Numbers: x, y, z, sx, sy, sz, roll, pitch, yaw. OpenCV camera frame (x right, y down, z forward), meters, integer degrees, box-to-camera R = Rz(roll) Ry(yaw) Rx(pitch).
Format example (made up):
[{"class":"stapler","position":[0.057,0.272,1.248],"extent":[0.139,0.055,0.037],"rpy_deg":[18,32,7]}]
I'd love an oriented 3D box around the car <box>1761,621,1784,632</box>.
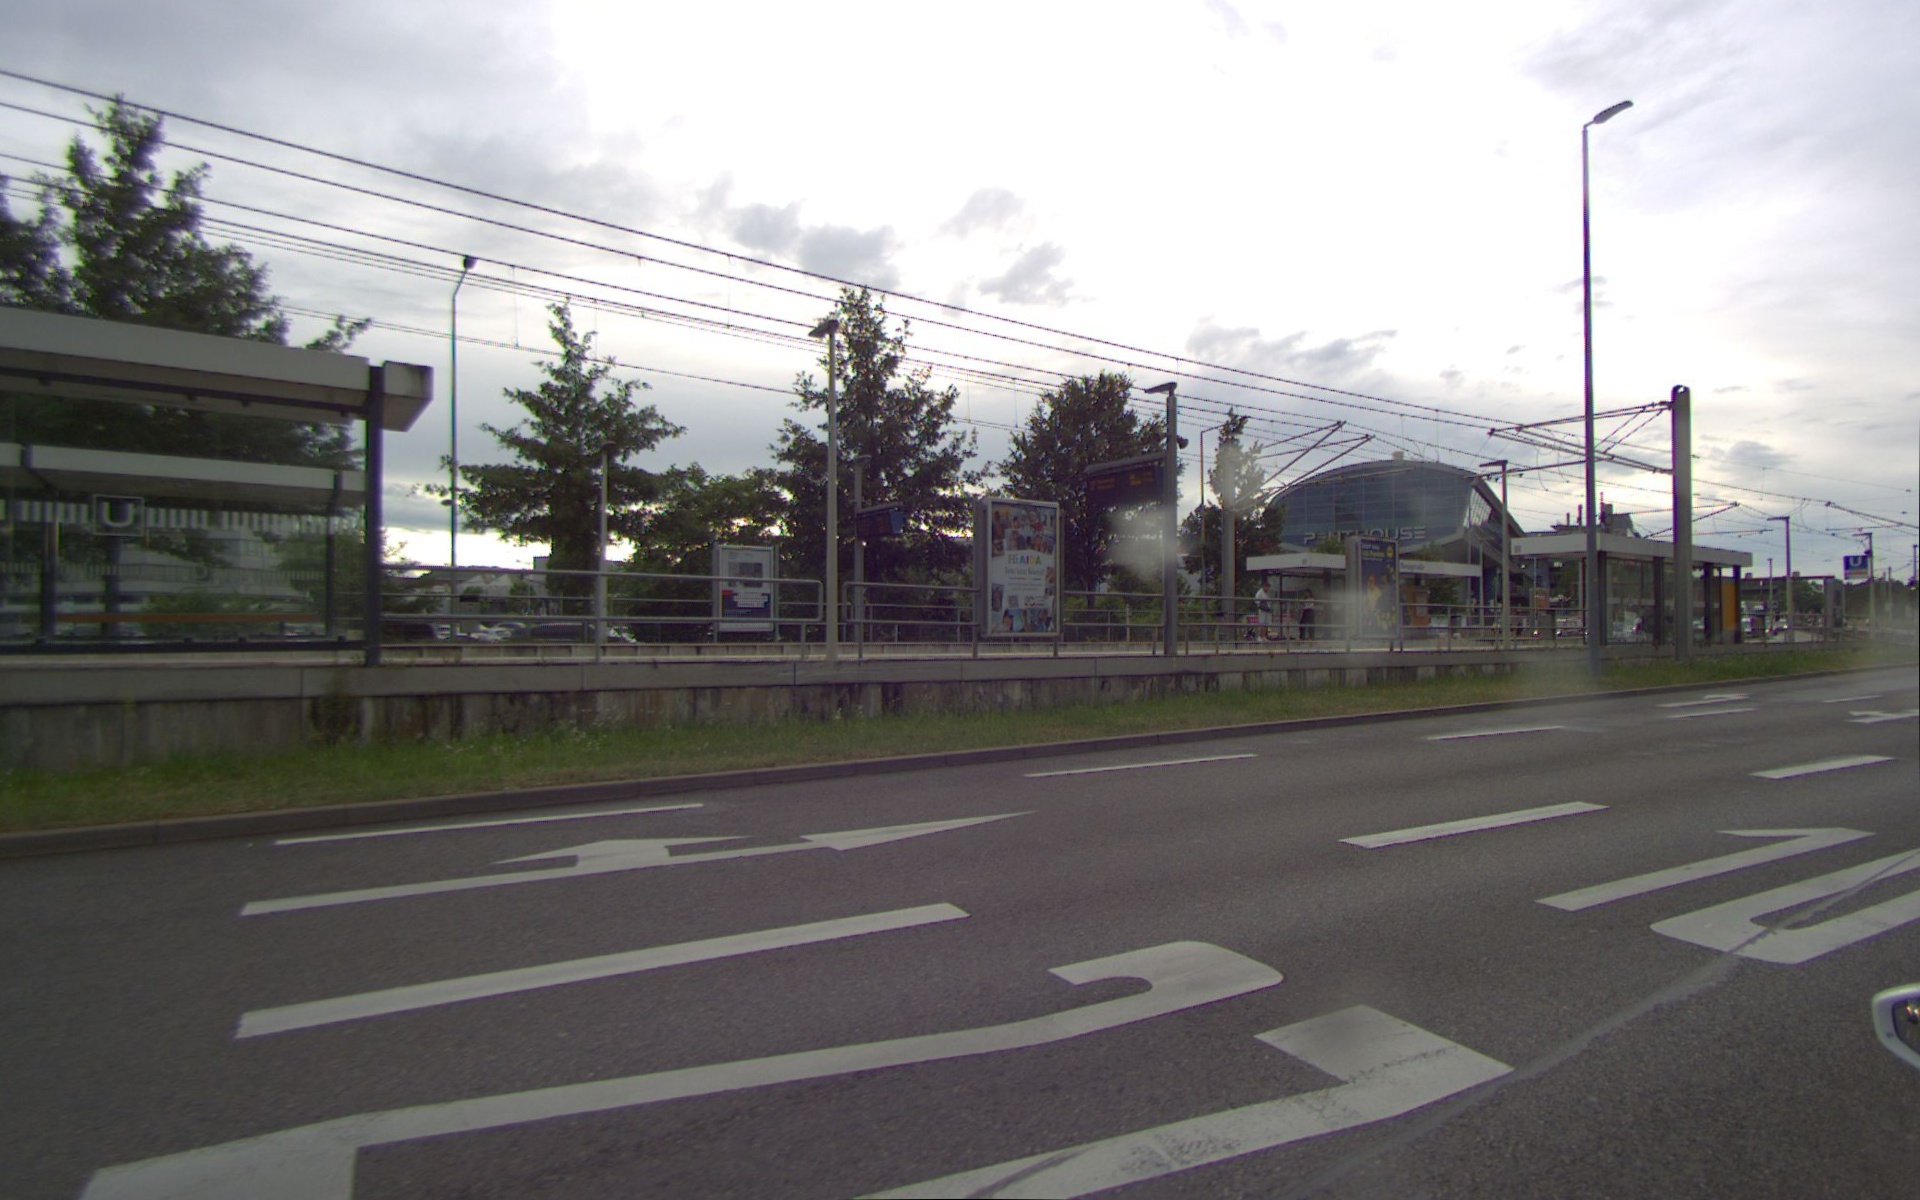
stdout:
[{"class":"car","position":[103.231,3.399,127.578],"extent":[1.888,1.281,4.388],"rpy_deg":[2,0,44]}]

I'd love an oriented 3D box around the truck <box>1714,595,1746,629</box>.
[{"class":"truck","position":[93.375,1.509,121.780],"extent":[2.798,4.049,5.960],"rpy_deg":[-1,-1,39]}]

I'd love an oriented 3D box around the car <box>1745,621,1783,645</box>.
[{"class":"car","position":[71.987,2.941,89.962],"extent":[4.311,2.040,1.758],"rpy_deg":[2,0,-39]}]

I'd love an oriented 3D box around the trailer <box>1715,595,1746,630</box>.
[{"class":"trailer","position":[96.435,1.554,125.632],"extent":[2.761,4.161,11.393],"rpy_deg":[-2,-2,38]}]

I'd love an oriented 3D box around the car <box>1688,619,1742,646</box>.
[{"class":"car","position":[53.328,2.294,70.932],"extent":[4.990,1.754,1.976],"rpy_deg":[2,0,-41]}]

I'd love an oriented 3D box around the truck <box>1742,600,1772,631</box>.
[{"class":"truck","position":[111.404,2.267,140.340],"extent":[2.639,4.184,6.148],"rpy_deg":[-2,-3,44]}]

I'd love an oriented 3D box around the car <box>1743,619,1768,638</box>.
[{"class":"car","position":[71.543,2.570,90.322],"extent":[1.510,1.689,4.248],"rpy_deg":[2,0,41]}]

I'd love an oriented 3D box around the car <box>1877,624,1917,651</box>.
[{"class":"car","position":[76.131,2.994,81.608],"extent":[4.310,2.041,1.758],"rpy_deg":[0,1,-39]}]

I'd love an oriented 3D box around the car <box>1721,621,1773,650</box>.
[{"class":"car","position":[62.404,2.817,79.627],"extent":[5.096,2.244,1.979],"rpy_deg":[2,0,-37]}]
